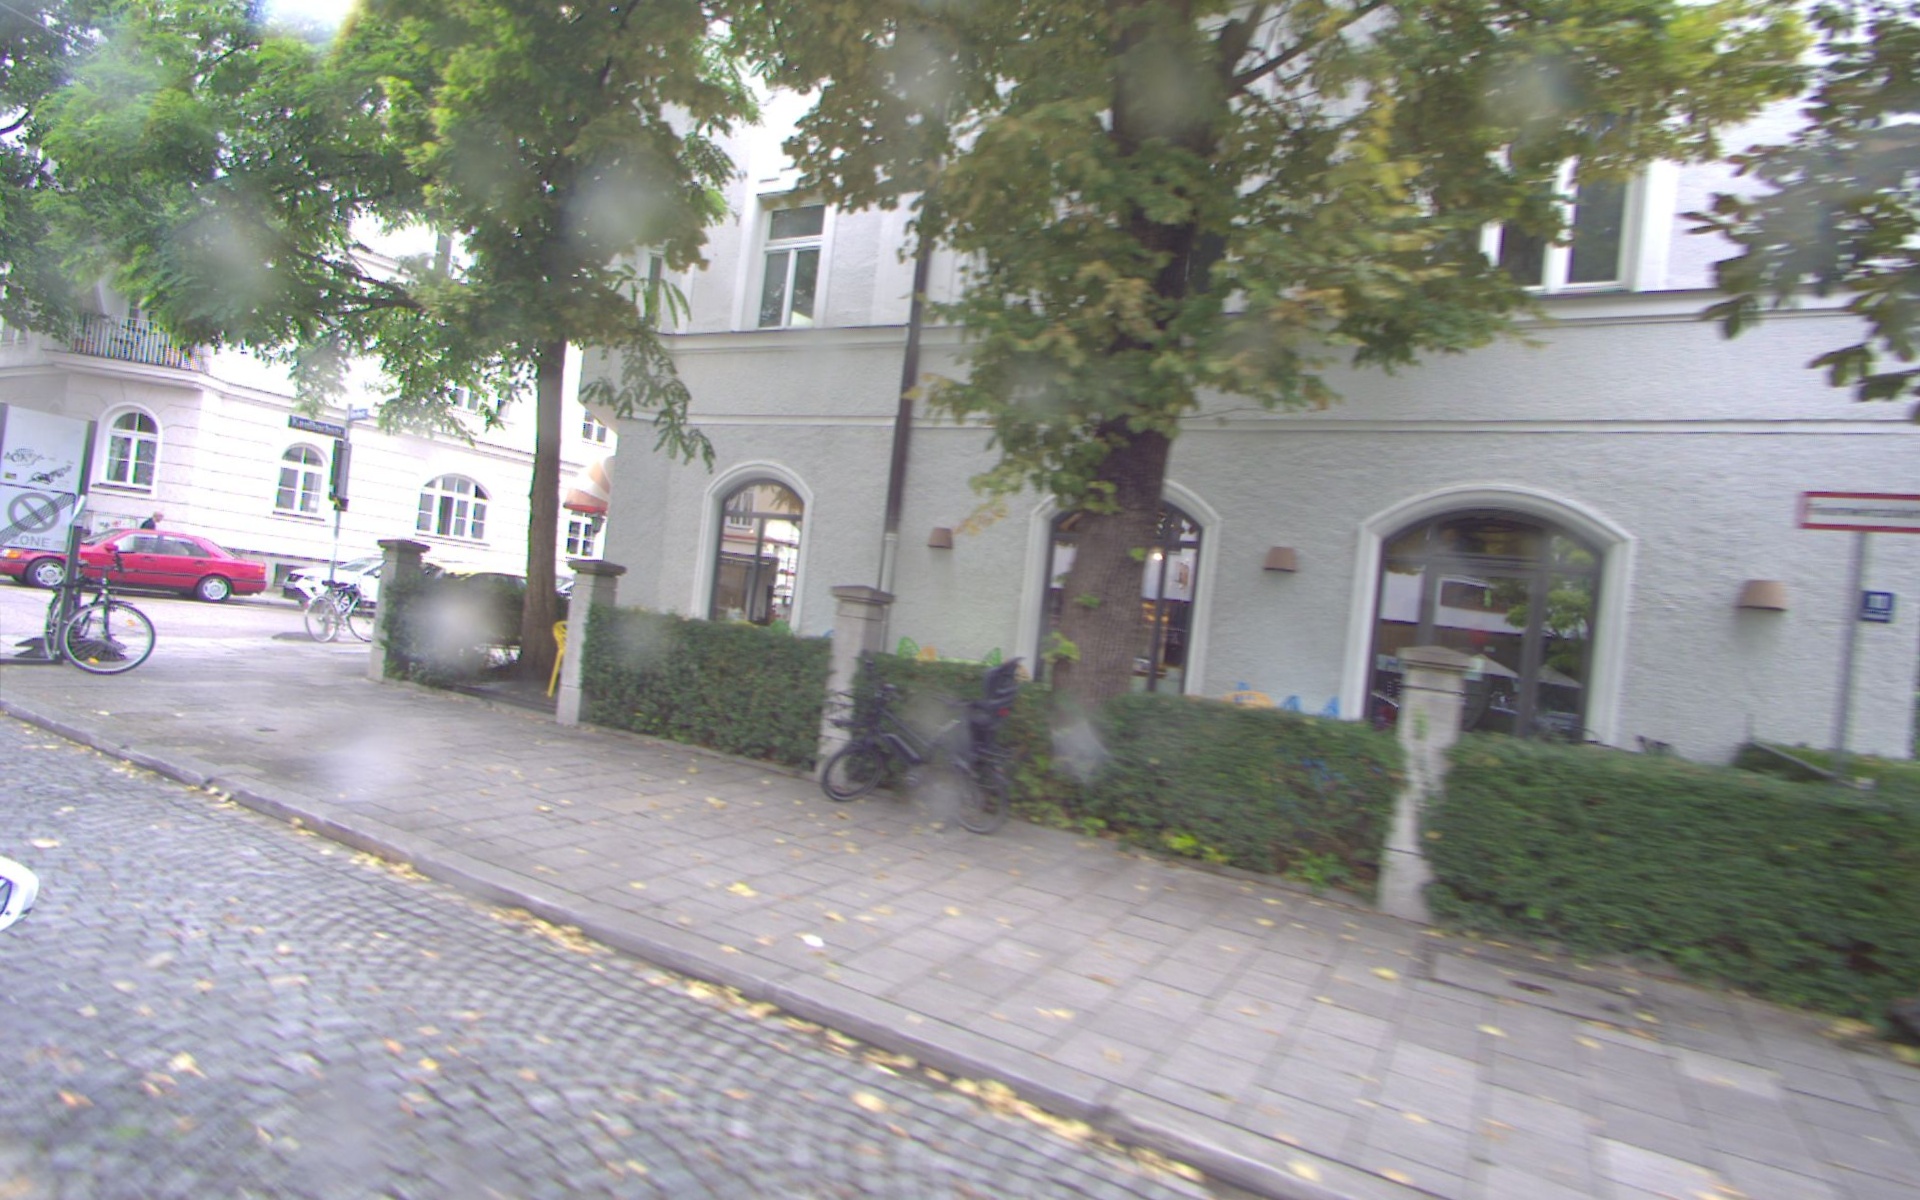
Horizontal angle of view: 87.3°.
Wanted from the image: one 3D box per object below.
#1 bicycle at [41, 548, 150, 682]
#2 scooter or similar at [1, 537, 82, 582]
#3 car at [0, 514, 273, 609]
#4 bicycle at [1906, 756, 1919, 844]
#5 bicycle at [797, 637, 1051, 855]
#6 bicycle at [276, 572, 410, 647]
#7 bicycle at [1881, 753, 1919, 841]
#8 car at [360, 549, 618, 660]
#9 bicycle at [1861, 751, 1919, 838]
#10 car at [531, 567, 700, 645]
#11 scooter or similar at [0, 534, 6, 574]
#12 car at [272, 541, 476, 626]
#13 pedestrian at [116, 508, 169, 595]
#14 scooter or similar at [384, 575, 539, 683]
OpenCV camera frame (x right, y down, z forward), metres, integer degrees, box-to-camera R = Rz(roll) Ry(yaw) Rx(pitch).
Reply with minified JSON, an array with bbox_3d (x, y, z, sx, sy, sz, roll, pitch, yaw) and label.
[{"bbox_3d":[-8.519,0.129,9.897,1.565,1.160,0.388,5,-1,37],"label":"bicycle"},{"bbox_3d":[-21.141,-0.927,23.172,0.686,0.835,1.237,6,-2,39],"label":"scooter or similar"},{"bbox_3d":[-17.181,-0.759,20.846,1.734,1.374,4.468,6,-2,37],"label":"car"},{"bbox_3d":[13.166,2.667,12.700,1.644,1.114,0.421,6,-1,25],"label":"bicycle"},{"bbox_3d":[-0.284,0.964,7.057,1.701,1.213,0.428,6,1,30],"label":"bicycle"},{"bbox_3d":[-9.659,0.165,15.794,0.727,1.082,1.602,2,-2,32],"label":"bicycle"},{"bbox_3d":[13.474,2.733,13.395,1.644,1.114,0.421,6,-1,25],"label":"bicycle"},{"bbox_3d":[-9.116,0.138,19.740,1.879,1.616,4.072,5,-3,41],"label":"car"},{"bbox_3d":[13.744,2.800,14.006,1.644,1.114,0.421,6,-1,25],"label":"bicycle"},{"bbox_3d":[-10.093,0.209,29.717,1.727,1.731,4.325,6,-2,41],"label":"car"},{"bbox_3d":[-21.741,-1.094,21.942,0.911,0.858,1.183,5,-2,39],"label":"scooter or similar"},{"bbox_3d":[-14.081,-0.351,24.369,1.541,1.539,3.890,6,-2,34],"label":"car"},{"bbox_3d":[-18.850,-1.123,23.199,0.729,1.898,0.495,6,-1,25],"label":"pedestrian"},{"bbox_3d":[-6.187,0.378,12.533,1.594,1.186,0.401,7,-1,-38],"label":"scooter or similar"}]
